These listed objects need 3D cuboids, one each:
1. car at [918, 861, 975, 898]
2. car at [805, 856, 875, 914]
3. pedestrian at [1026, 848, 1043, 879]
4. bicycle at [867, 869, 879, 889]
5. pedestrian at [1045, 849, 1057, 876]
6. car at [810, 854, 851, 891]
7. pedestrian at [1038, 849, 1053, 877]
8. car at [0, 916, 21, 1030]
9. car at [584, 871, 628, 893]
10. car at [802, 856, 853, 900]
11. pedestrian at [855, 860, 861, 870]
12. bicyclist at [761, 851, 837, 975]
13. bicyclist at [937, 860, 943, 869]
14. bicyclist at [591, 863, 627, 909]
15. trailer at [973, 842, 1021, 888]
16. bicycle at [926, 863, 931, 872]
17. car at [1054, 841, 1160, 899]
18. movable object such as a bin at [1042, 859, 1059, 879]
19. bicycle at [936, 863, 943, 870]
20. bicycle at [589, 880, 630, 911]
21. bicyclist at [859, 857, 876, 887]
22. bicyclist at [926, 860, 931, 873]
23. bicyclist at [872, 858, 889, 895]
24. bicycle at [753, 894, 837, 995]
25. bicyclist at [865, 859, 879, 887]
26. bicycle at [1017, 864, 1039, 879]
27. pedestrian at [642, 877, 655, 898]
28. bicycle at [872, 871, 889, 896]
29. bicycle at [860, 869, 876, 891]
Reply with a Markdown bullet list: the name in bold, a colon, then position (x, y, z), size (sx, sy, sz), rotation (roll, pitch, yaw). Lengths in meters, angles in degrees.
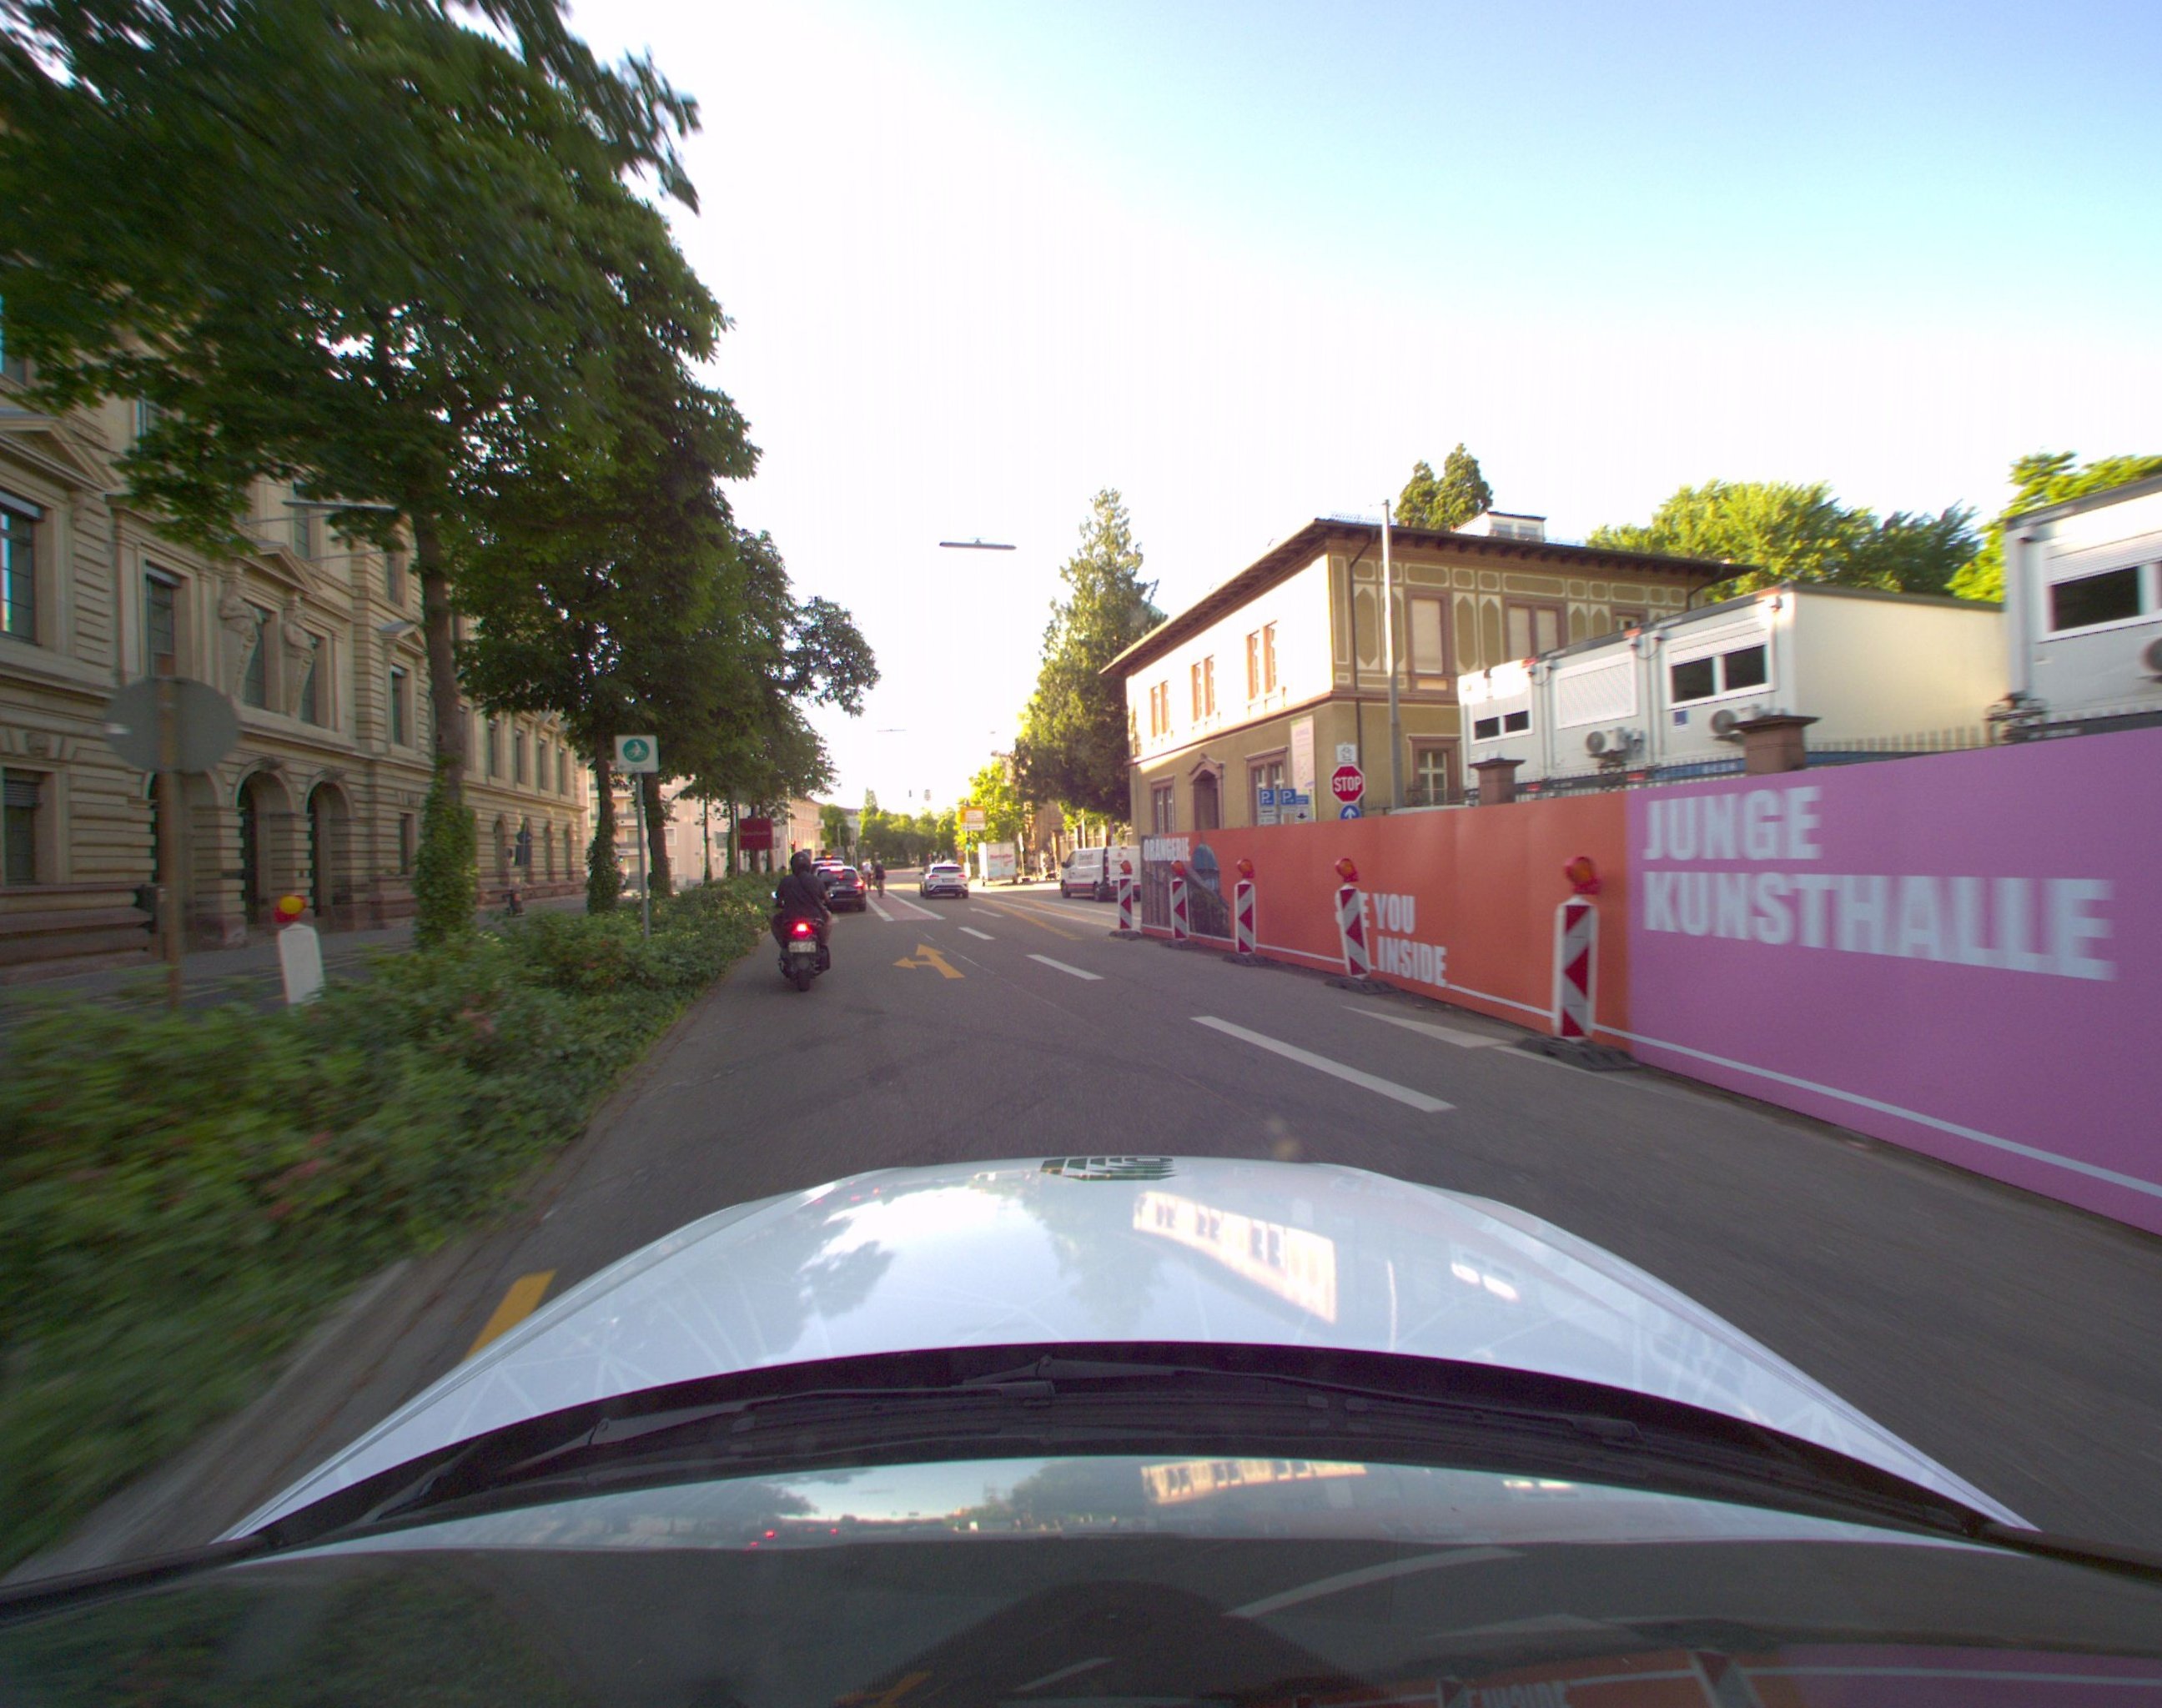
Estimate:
- **car**: position (-5.956, 1.088, 35.688), size (1.998, 1.453, 3.978), rotation (-3, 0, -16)
- **car**: position (-8.073, 0.971, 27.075), size (1.999, 1.657, 4.707), rotation (-2, 0, -18)
- **pedestrian**: position (-2.857, 0.581, 49.883), size (0.717, 1.894, 0.884), rotation (-3, 0, -19)
- **bicycle**: position (-12.367, 1.474, 48.381), size (0.643, 1.155, 2.067), rotation (-1, 0, -13)
- **pedestrian**: position (-2.026, 0.571, 54.528), size (0.640, 1.768, 0.734), rotation (-2, 0, -13)
- **car**: position (-14.250, 1.042, 46.424), size (2.073, 1.915, 5.004), rotation (-2, -1, -17)
- **pedestrian**: position (-2.183, 0.545, 50.401), size (0.684, 1.701, 0.689), rotation (-3, 0, -17)
- **car**: position (-14.863, 1.620, 9.114), size (1.672, 1.507, 3.824), rotation (-2, 0, -17)
- **car**: position (-41.697, 2.440, 71.597), size (1.996, 1.686, 4.594), rotation (-2, 0, -13)
- **car**: position (-11.379, 1.044, 36.783), size (1.995, 1.749, 4.721), rotation (-2, 0, -16)
- **pedestrian**: position (-42.898, 2.115, 156.894), size (0.853, 1.851, 1.000), rotation (-3, 0, -2)
- **bicyclist**: position (-3.674, 0.730, 10.700), size (0.869, 1.523, 1.224), rotation (0, -1, -16)
- **bicyclist**: position (-22.898, 1.676, 131.878), size (0.745, 1.537, 0.969), rotation (-2, 0, 0)
- **bicyclist**: position (-19.930, 1.329, 34.409), size (0.883, 1.834, 1.279), rotation (-5, 0, -16)
- **trailer**: position (-5.139, 0.627, 49.498), size (2.083, 2.528, 4.469), rotation (-4, 1, -15)
- **bicycle**: position (-19.289, 1.708, 102.947), size (0.643, 1.025, 2.204), rotation (-1, 0, -10)
- **car**: position (0.841, 0.605, 30.775), size (2.022, 1.945, 5.443), rotation (-1, -1, -21)
- **movable object such as a bin**: position (-1.836, 0.914, 49.533), size (0.713, 1.117, 1.044), rotation (-4, 1, -18)
- **bicycle**: position (-22.891, 2.020, 131.860), size (0.750, 1.026, 1.869), rotation (-1, -1, 0)
- **bicycle**: position (-19.927, 1.735, 34.475), size (0.883, 1.194, 2.163), rotation (-5, 0, -16)
- **bicyclist**: position (-12.012, 1.013, 45.840), size (0.804, 1.608, 0.821), rotation (-2, 0, -14)
- **bicyclist**: position (-19.336, 1.568, 103.153), size (0.636, 1.614, 1.279), rotation (-1, 0, -11)
- **bicyclist**: position (-9.007, 0.999, 36.536), size (0.674, 1.652, 0.882), rotation (-1, -1, -16)
- **bicycle**: position (-3.676, 1.102, 10.651), size (0.872, 1.043, 2.440), rotation (-1, -1, -16)
- **bicyclist**: position (-12.389, 1.136, 48.292), size (0.671, 1.608, 0.821), rotation (-2, 0, -14)
- **bicycle**: position (-3.825, 1.256, 58.416), size (1.469, 1.039, 0.476), rotation (-3, 0, -16)
- **pedestrian**: position (-33.630, 2.600, 63.341), size (0.632, 1.583, 0.814), rotation (1, -1, -13)
- **bicycle**: position (-9.034, 1.322, 36.680), size (0.670, 1.072, 1.744), rotation (-1, 0, -15)
- **bicycle**: position (-11.997, 1.455, 45.900), size (0.830, 1.143, 1.960), rotation (-1, 0, -13)
